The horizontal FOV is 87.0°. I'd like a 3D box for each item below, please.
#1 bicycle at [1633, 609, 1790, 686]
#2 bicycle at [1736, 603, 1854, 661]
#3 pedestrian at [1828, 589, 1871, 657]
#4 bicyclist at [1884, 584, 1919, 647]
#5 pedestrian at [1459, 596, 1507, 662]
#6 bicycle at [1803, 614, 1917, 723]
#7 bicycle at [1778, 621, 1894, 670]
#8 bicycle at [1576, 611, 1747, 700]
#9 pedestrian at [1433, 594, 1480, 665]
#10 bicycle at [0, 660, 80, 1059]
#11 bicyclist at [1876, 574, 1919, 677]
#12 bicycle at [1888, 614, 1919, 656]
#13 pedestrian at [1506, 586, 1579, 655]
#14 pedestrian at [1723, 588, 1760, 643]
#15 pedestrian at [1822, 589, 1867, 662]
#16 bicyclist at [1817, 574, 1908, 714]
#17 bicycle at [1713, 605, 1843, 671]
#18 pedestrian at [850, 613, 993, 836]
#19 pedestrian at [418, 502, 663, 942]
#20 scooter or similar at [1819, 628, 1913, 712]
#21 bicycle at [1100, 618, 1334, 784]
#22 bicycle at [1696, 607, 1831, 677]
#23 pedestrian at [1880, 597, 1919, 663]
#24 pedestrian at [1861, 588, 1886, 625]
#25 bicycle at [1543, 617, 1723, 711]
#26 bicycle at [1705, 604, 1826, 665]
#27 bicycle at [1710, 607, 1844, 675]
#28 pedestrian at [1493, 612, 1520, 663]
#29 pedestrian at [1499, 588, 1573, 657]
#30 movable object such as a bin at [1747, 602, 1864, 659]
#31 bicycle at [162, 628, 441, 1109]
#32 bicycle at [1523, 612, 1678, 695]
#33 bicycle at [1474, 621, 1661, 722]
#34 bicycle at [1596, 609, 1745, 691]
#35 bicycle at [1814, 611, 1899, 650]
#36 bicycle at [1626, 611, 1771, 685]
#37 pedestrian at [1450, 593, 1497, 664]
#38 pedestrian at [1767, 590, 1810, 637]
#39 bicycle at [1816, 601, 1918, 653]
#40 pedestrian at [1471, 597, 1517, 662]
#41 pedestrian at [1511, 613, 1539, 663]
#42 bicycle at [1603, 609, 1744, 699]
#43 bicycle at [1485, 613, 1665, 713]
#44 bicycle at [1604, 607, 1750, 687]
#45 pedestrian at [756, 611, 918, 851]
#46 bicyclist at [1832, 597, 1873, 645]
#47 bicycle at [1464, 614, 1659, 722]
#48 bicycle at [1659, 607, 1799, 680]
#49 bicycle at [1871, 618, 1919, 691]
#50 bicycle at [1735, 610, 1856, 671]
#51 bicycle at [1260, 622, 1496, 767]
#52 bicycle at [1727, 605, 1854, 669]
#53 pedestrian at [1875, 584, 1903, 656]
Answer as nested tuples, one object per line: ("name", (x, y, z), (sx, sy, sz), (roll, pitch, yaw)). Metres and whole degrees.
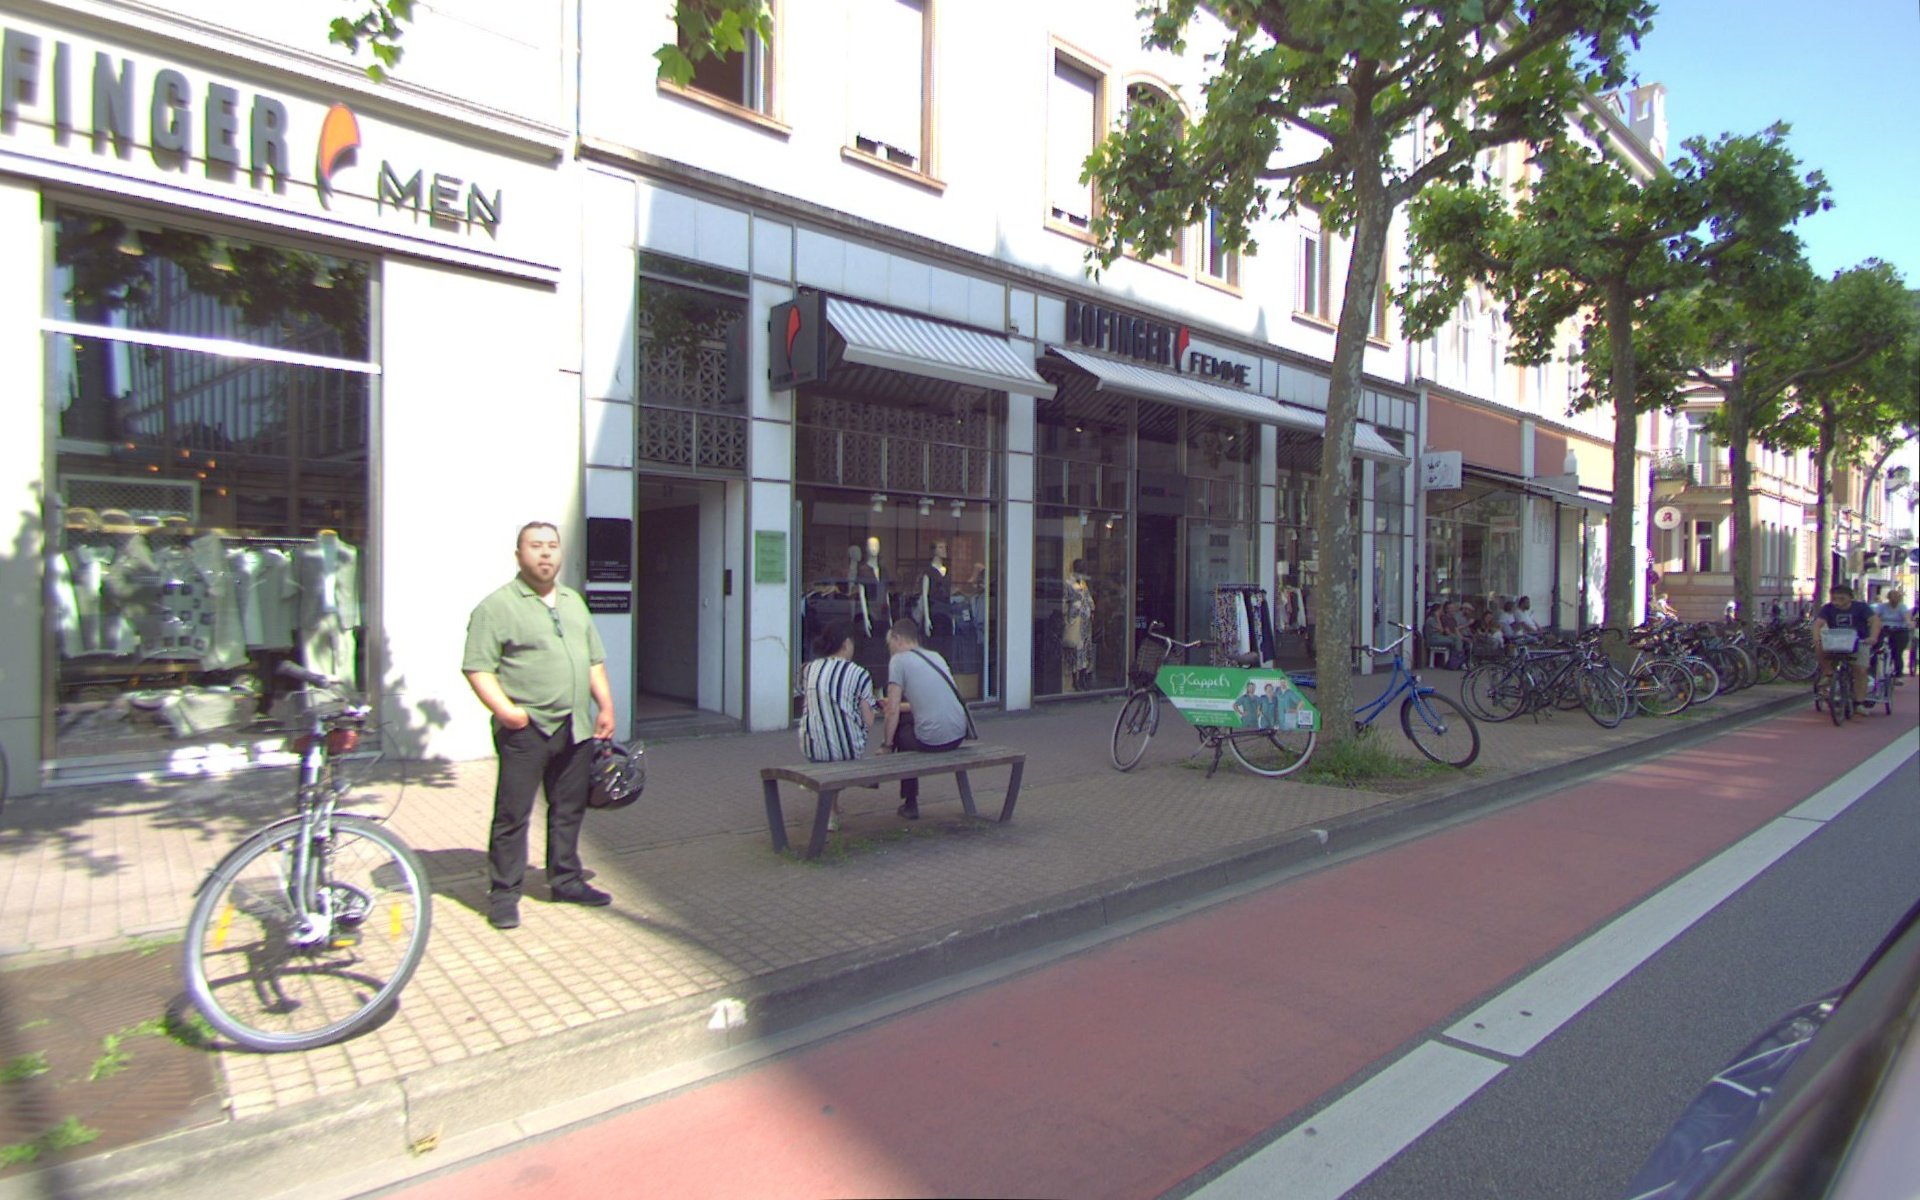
("bicycle", (12.560, 0.758, 16.989), (0.746, 1.141, 1.995), (-1, 2, -28))
("bicycle", (17.964, 0.656, 21.818), (0.654, 1.141, 1.847), (-1, 2, -33))
("pedestrian", (23.110, 0.587, 26.287), (0.630, 1.712, 0.788), (1, -1, -43))
("bicyclist", (26.892, 0.432, 28.743), (0.830, 1.738, 0.840), (0, 2, -40))
("pedestrian", (10.561, 0.572, 20.442), (0.523, 1.268, 0.682), (1, 1, -43))
("bicycle", (11.507, 0.830, 12.915), (2.241, 1.285, 0.733), (1, -1, -39))
("bicycle", (19.748, 1.049, 22.831), (1.018, 0.395, 1.854), (-44, 19, -32))
("bicycle", (9.607, 0.738, 13.928), (1.819, 1.141, 0.591), (0, 1, 14))
("pedestrian", (9.684, 0.558, 19.744), (0.523, 1.349, 0.682), (0, 0, -43))
("bicycle", (-3.024, 0.787, 2.825), (0.487, 1.141, 1.848), (0, -1, -29))
("bicyclist", (16.330, 0.422, 17.467), (0.830, 1.739, 0.684), (0, 0, -40))
("bicycle", (27.234, 0.996, 28.992), (1.956, 1.132, 0.664), (2, 0, -40))
("pedestrian", (13.169, 0.446, 22.898), (0.823, 1.502, 1.253), (0, 1, -43))
("pedestrian", (24.088, 0.469, 31.194), (0.774, 1.679, 0.642), (2, -1, -28))
("pedestrian", (22.508, 0.637, 25.750), (0.630, 1.818, 0.788), (1, -1, -43))
("bicyclist", (11.492, 0.529, 12.893), (0.761, 1.694, 0.732), (0, 2, -40))
("bicycle", (15.608, 0.701, 19.355), (0.654, 1.141, 1.844), (-1, 2, -38))
("pedestrian", (-0.236, 0.713, 6.192), (0.587, 1.248, 0.640), (-1, 0, -43))
("pedestrian", (-1.844, 0.483, 4.467), (0.829, 1.711, 0.639), (1, -3, -43))
("scooter or similar", (12.496, 0.940, 13.956), (1.105, 1.074, 0.785), (0, -1, -39))
("bicycle", (2.054, 0.761, 8.126), (1.760, 1.212, 0.573), (0, 0, 23))
("bicycle", (14.525, 0.733, 18.349), (0.520, 1.141, 1.844), (-1, 2, -38))
("pedestrian", (25.690, 0.807, 27.683), (0.777, 1.729, 0.640), (-3, 5, -44))
("pedestrian", (46.295, 0.319, 51.291), (0.754, 1.813, 0.840), (0, 2, -40))
("bicycle", (8.620, 0.787, 13.033), (0.554, 1.107, 1.843), (0, 0, -40))
("bicycle", (16.521, 0.682, 20.795), (0.654, 1.141, 1.844), (-1, 2, -38))
("bicycle", (15.088, 0.728, 18.733), (0.654, 1.141, 1.844), (-1, 2, -38))
("pedestrian", (10.758, 0.741, 19.920), (0.429, 0.980, 0.342), (0, 0, -39))
("pedestrian", (12.633, 0.475, 22.219), (0.777, 1.440, 1.234), (-1, 2, -43))
("movable object such as a bin", (18.594, 0.660, 22.313), (0.639, 1.204, 1.859), (0, -1, -25))
("bicycle", (-2.341, 0.737, 3.641), (0.660, 1.212, 1.847), (0, 0, -33))
("bicycle", (9.165, 0.751, 14.536), (1.818, 1.141, 0.446), (0, 1, 13))
("bicycle", (7.219, 0.812, 12.084), (1.837, 1.107, 0.556), (-1, -1, 40))
("bicycle", (11.038, 0.746, 15.785), (0.440, 1.141, 1.845), (-1, 2, -37))
("bicycle", (27.424, 0.901, 30.972), (0.654, 1.141, 1.845), (-1, 0, -36))
("bicycle", (12.023, 0.753, 16.537), (0.519, 1.141, 1.848), (-1, -1, -28))
("pedestrian", (10.177, 0.549, 20.068), (0.523, 1.355, 0.682), (0, 0, -43))
("pedestrian", (30.552, 0.479, 37.345), (0.892, 1.630, 0.970), (1, 4, 21))
("bicycle", (21.880, 0.666, 24.467), (0.702, 1.204, 1.857), (1, -3, -3))
("pedestrian", (10.994, 0.590, 20.840), (0.598, 1.268, 0.640), (-1, 3, -43))
("pedestrian", (11.316, 0.753, 20.273), (0.429, 0.980, 0.365), (0, 0, -39))
("bicycle", (10.292, 0.742, 14.684), (0.439, 1.141, 1.850), (-1, 2, -13))
("bicycle", (7.679, 0.762, 12.671), (1.835, 1.141, 0.755), (-2, 0, 37))
("bicycle", (11.366, 0.717, 16.096), (0.440, 1.141, 1.845), (-1, 2, -37))
("pedestrian", (-0.723, 0.706, 5.902), (0.566, 1.258, 0.788), (-1, 0, -43))
("bicyclist", (27.255, 0.626, 30.920), (0.492, 1.429, 0.861), (0, 1, -40))
("bicycle", (6.914, 0.753, 11.684), (1.836, 1.141, 0.623), (-2, -1, 40))
("bicycle", (13.375, 0.727, 17.657), (0.667, 1.141, 1.844), (-1, 1, -38))
("bicycle", (16.323, 0.909, 17.403), (1.998, 1.141, 0.736), (0, 0, -41))
("bicycle", (17.448, 0.820, 21.174), (0.654, 1.141, 1.844), (-1, 2, -38))
("bicycle", (3.594, 0.774, 8.834), (1.838, 1.141, 0.490), (-2, -3, 42))
("bicycle", (16.395, 0.704, 20.017), (0.632, 1.141, 1.844), (-1, 2, -38))
("pedestrian", (23.905, 0.516, 26.045), (0.597, 1.818, 0.453), (1, -2, -43))
